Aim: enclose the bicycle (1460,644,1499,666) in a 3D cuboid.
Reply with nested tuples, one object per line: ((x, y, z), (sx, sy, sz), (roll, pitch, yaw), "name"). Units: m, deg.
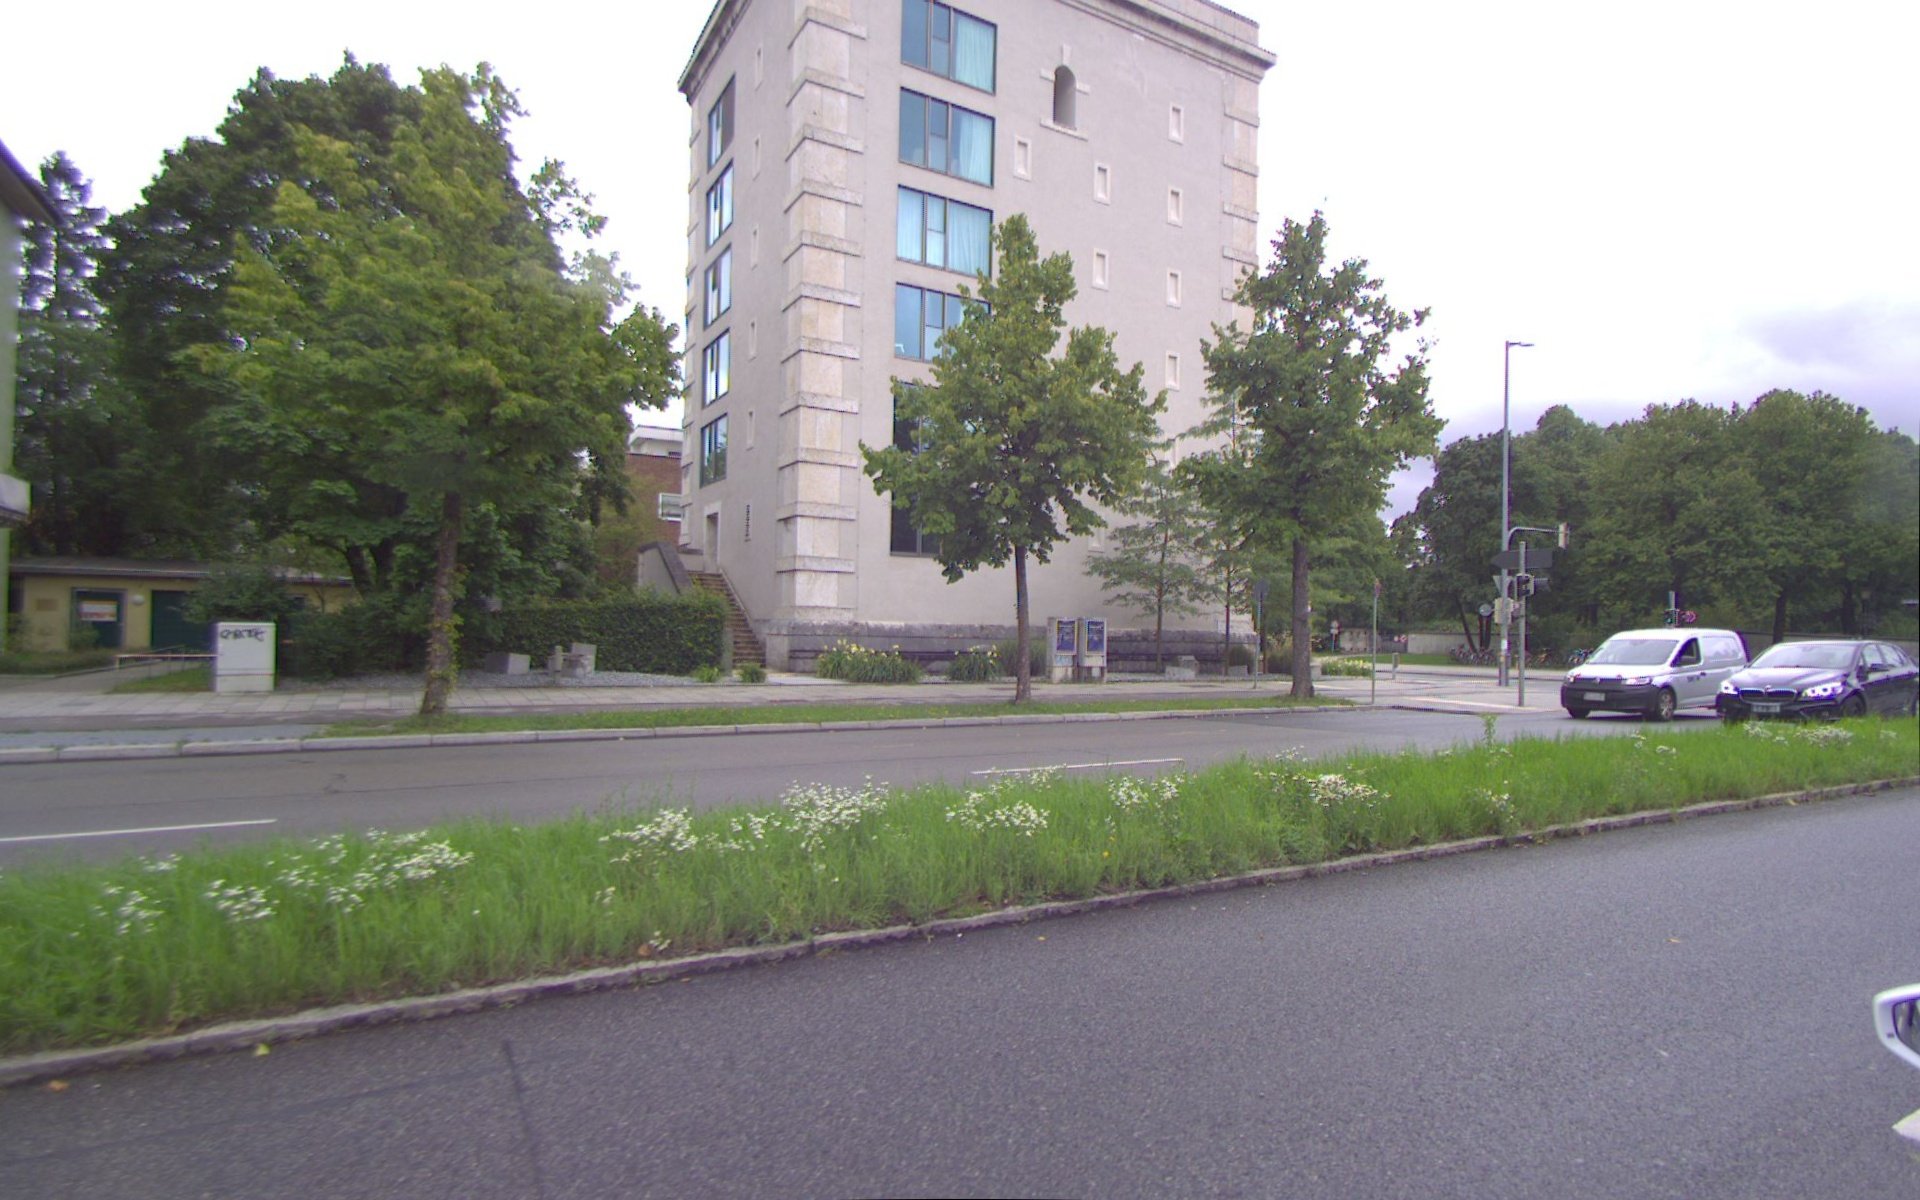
((30.154, 3.188, 58.317), (2.467, 1.201, 0.831), (2, -2, -30), "bicycle")

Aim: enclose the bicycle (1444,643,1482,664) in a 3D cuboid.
((29.627, 3.174, 59.158), (2.467, 1.201, 0.831), (2, -2, -30), "bicycle")

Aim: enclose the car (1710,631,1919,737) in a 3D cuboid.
((14.755, 1.370, 17.130), (4.242, 1.590, 1.689), (2, -2, -31), "car")

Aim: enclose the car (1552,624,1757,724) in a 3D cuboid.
((14.278, 1.467, 20.612), (4.378, 1.835, 1.771), (2, -2, -30), "car")

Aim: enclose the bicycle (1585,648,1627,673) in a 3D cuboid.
((33.432, 3.127, 51.975), (2.467, 1.201, 0.831), (2, -2, -30), "bicycle")

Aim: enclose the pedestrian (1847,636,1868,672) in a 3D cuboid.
((45.048, 2.704, 50.420), (0.512, 1.763, 0.703), (2, -1, -33), "pedestrian")

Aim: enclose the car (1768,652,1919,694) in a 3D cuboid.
((32.491, 2.654, 36.632), (4.276, 1.481, 1.934), (0, -3, 8), "car")

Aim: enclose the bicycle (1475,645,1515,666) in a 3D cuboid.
((30.575, 3.175, 57.383), (2.467, 1.201, 0.831), (2, -2, -30), "bicycle")

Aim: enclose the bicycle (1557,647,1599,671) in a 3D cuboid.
((32.661, 3.114, 53.093), (2.467, 1.201, 0.831), (2, -2, -30), "bicycle")

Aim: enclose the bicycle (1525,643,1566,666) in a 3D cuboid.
((32.337, 3.004, 55.448), (2.467, 1.201, 0.831), (2, -2, -30), "bicycle")

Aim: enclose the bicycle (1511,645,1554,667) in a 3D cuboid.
((32.813, 3.195, 57.543), (2.850, 1.201, 0.831), (2, -2, -30), "bicycle")
